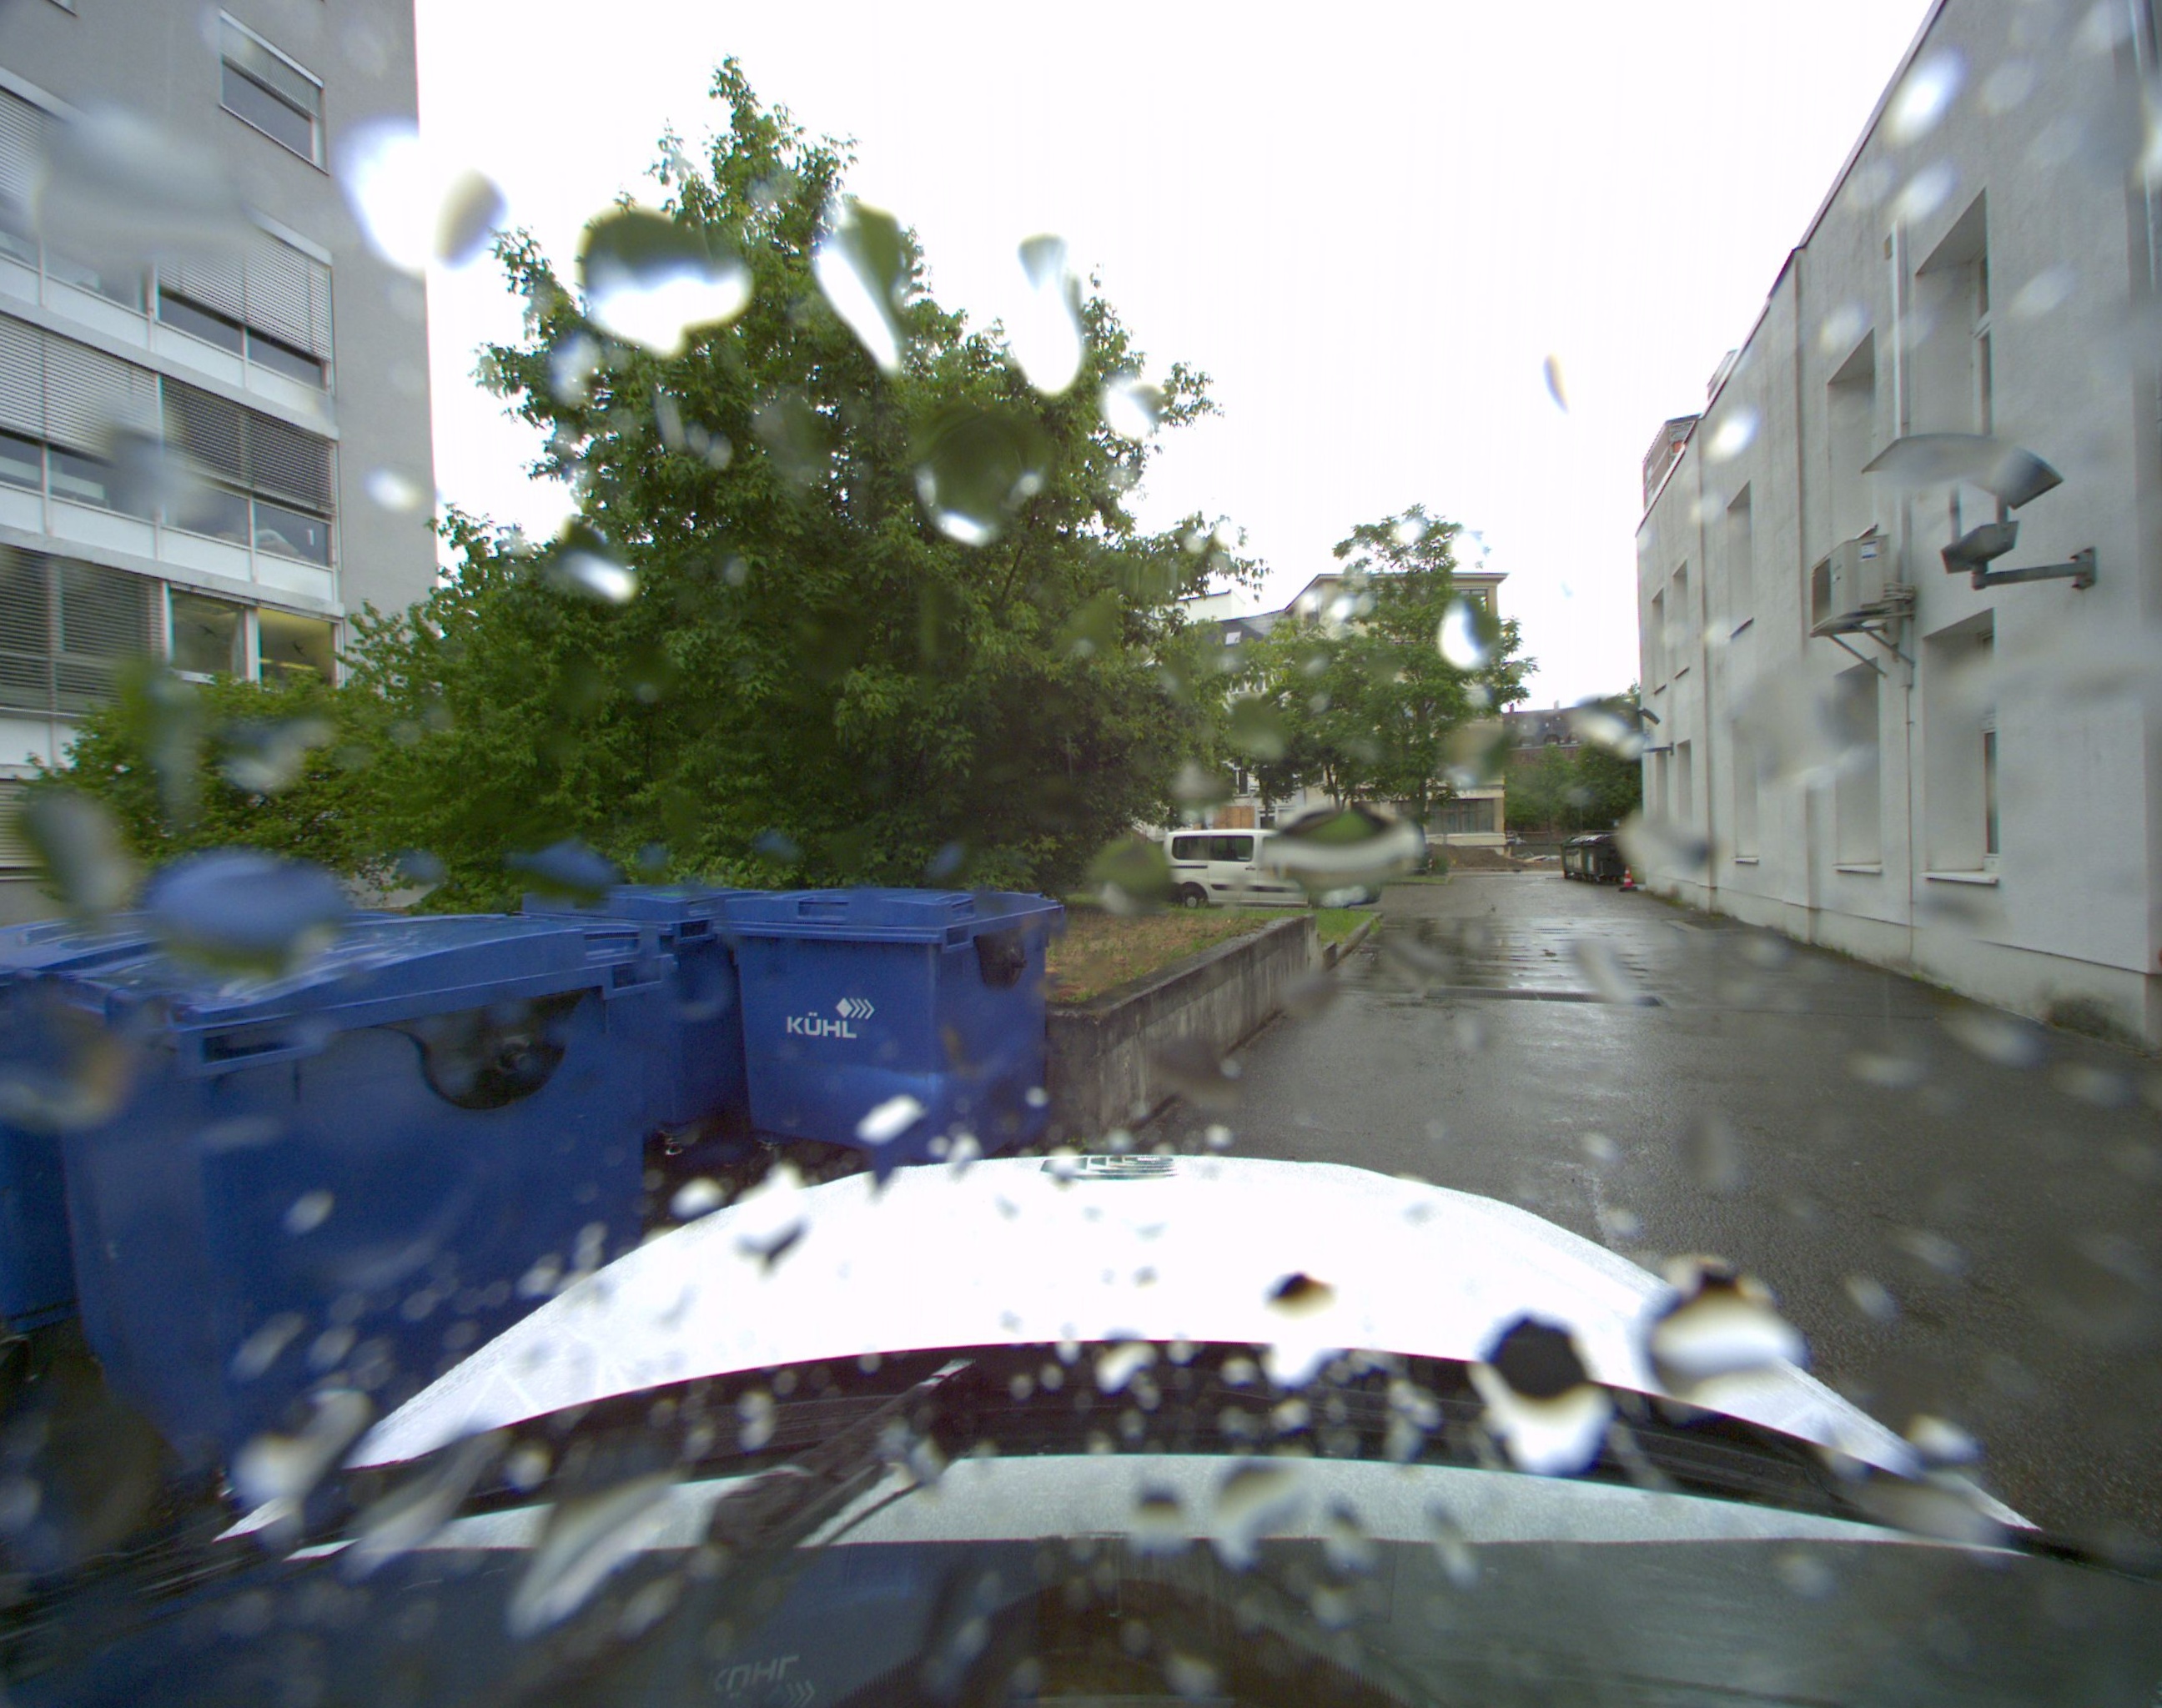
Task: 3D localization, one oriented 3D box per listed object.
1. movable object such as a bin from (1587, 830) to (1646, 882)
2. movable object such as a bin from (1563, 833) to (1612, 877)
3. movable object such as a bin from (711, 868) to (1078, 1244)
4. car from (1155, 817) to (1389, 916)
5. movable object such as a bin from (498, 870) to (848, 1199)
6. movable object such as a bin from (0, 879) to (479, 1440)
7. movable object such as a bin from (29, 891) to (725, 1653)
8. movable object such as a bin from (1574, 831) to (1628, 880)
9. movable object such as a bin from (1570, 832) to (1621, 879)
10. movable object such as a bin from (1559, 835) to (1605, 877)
[{"bbox_3d":[15.401,0.082,23.486,1.204,1.437,1.242,-1,-2,24],"label":"movable object such as a bin"},{"bbox_3d":[17.284,0.051,27.827,1.204,1.437,1.266,-1,-2,24],"label":"movable object such as a bin"},{"bbox_3d":[-0.804,0.761,3.696,1.210,1.337,1.012,-2,1,26],"label":"movable object such as a bin"},{"bbox_3d":[4.308,0.307,18.487,4.736,2.013,2.012,-2,0,27],"label":"car"},{"bbox_3d":[-2.039,0.788,4.159,1.210,1.337,1.013,-2,1,26],"label":"movable object such as a bin"},{"bbox_3d":[-3.086,0.810,2.829,1.191,1.336,1.123,0,3,26],"label":"movable object such as a bin"},{"bbox_3d":[-1.894,0.805,2.282,1.191,1.337,1.124,-2,0,30],"label":"movable object such as a bin"},{"bbox_3d":[16.026,0.068,25.128,1.204,1.437,1.301,-1,-2,24],"label":"movable object such as a bin"},{"bbox_3d":[16.741,0.058,26.552,1.204,1.468,1.242,-1,-2,24],"label":"movable object such as a bin"},{"bbox_3d":[17.864,0.079,29.087,1.204,1.437,1.266,-1,-2,24],"label":"movable object such as a bin"}]
